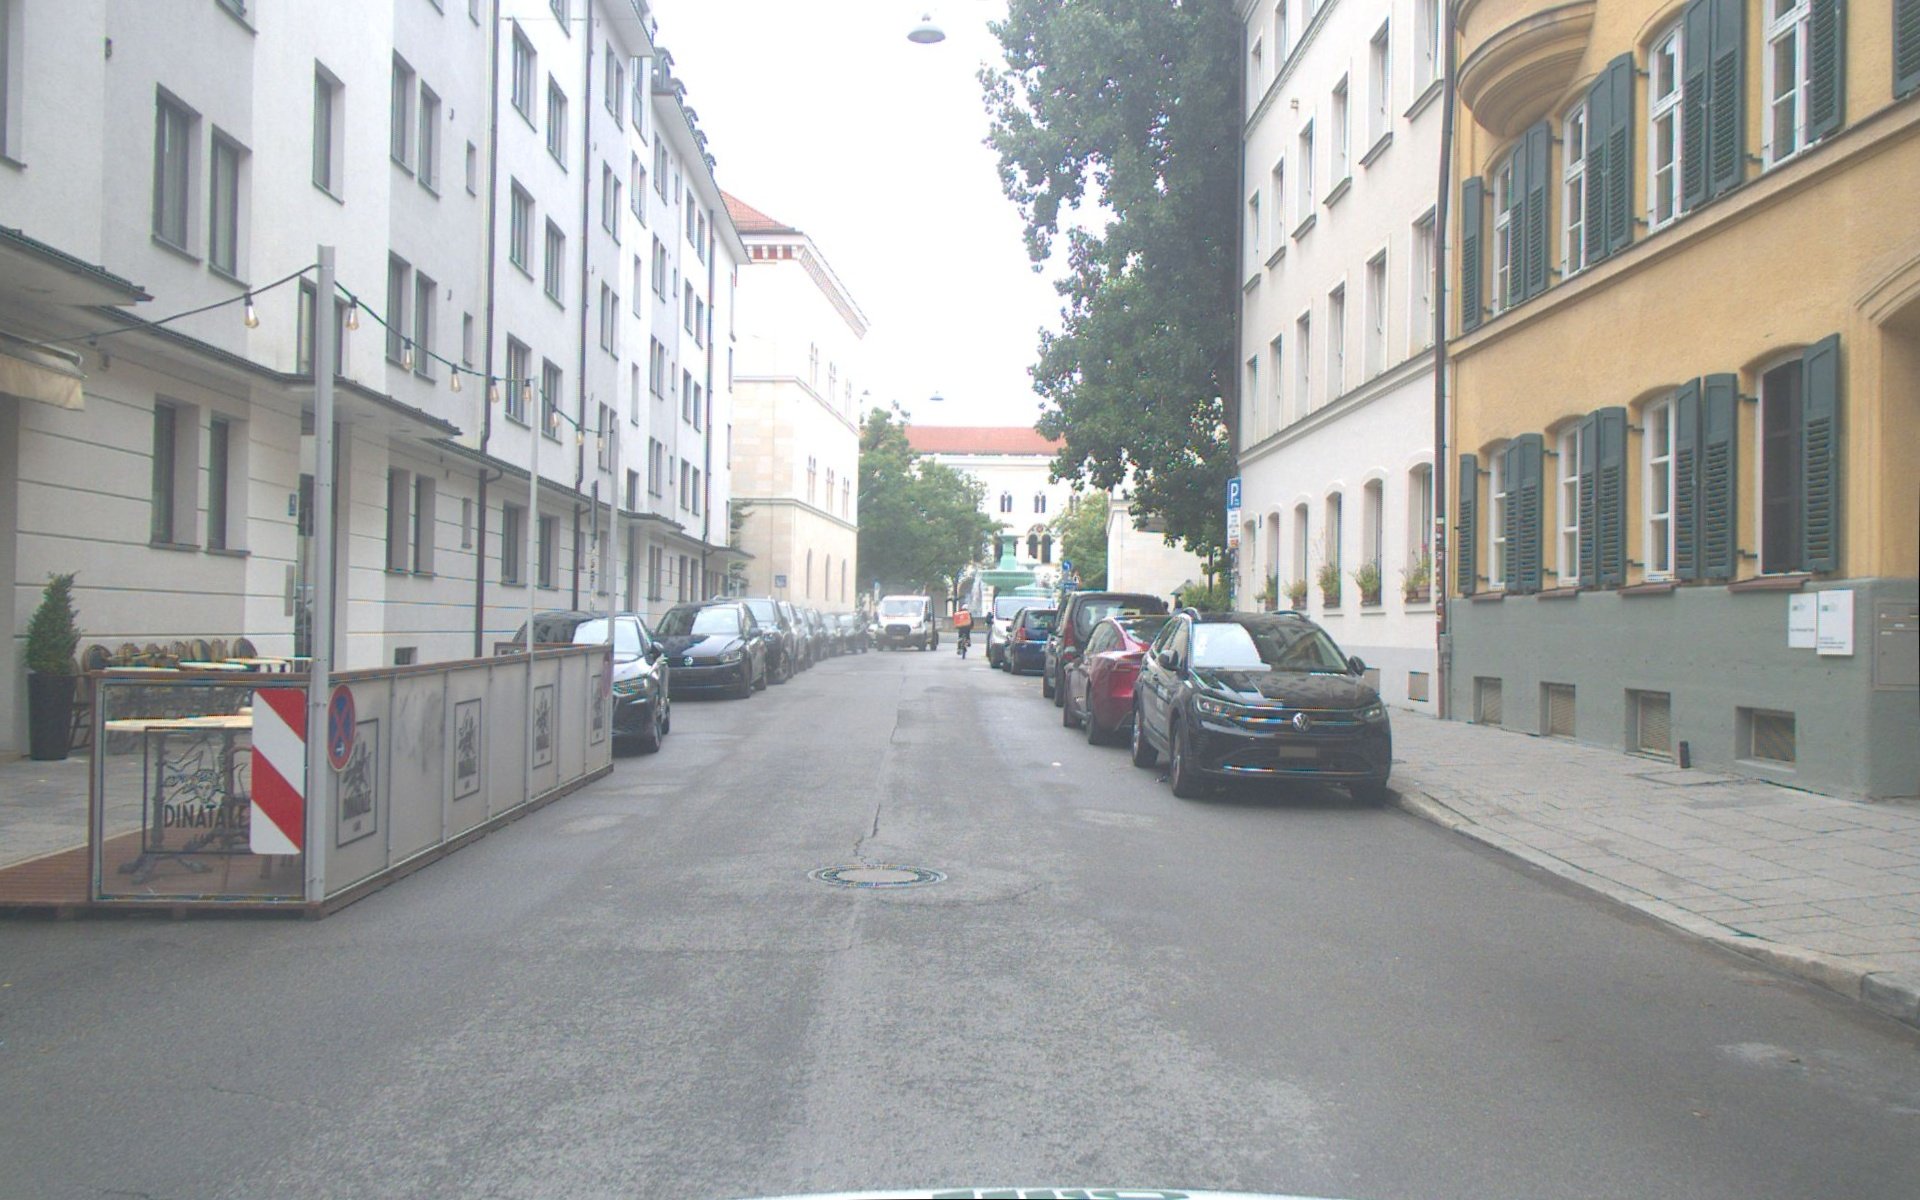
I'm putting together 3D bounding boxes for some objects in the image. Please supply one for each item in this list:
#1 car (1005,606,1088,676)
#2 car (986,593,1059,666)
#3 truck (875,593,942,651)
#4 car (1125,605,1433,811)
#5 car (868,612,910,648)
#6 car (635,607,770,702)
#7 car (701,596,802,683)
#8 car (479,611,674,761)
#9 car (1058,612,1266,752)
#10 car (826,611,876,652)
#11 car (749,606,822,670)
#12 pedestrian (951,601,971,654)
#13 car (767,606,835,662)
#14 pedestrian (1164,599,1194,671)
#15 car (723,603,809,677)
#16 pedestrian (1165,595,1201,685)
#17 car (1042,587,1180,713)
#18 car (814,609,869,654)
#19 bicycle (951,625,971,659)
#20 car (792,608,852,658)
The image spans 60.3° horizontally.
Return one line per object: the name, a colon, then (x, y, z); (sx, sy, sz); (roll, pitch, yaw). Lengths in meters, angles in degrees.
car: (2.089, 0.990, 40.950); (1.775, 1.642, 4.155); (1, -1, -1)
car: (1.722, 0.819, 46.909); (1.814, 1.953, 4.768); (1, -1, -1)
truck: (-2.070, 0.939, 68.408); (2.076, 2.287, 6.188); (0, -1, 5)
car: (2.613, 0.834, 14.557); (1.775, 1.490, 4.245); (2, -1, -1)
car: (-3.240, 1.382, 76.044); (1.671, 1.609, 3.863); (0, -1, 1)
car: (-4.249, 0.868, 27.773); (1.781, 1.470, 3.816); (0, -1, -2)
car: (-4.167, 0.769, 33.516); (1.672, 1.638, 3.861); (0, -1, -2)
car: (-4.056, 0.843, 18.042); (1.729, 1.435, 4.147); (0, -1, -8)
car: (2.311, 0.904, 19.960); (1.775, 1.449, 4.244); (2, -1, -3)
car: (-4.422, 1.264, 67.443); (1.671, 1.609, 3.863); (0, -1, 1)
car: (-4.677, 0.993, 44.752); (1.672, 1.638, 3.861); (0, -1, -2)
pedestrian: (0.033, 0.928, 55.033); (0.629, 1.744, 0.842); (0, -2, 0)
car: (-4.841, 1.025, 50.807); (1.671, 1.638, 3.863); (0, -1, 0)
pedestrian: (6.200, 0.991, 46.827); (0.656, 2.015, 0.708); (-2, -2, -1)
car: (-4.496, 0.918, 38.805); (1.672, 1.638, 3.861); (0, -1, -2)
pedestrian: (5.127, 0.921, 38.050); (0.656, 2.015, 0.708); (-2, -2, -1)
car: (2.373, 0.773, 26.989); (1.775, 1.829, 4.246); (2, -1, -1)
car: (-4.367, 1.157, 61.503); (1.671, 1.638, 3.863); (0, -1, 1)
bicycle: (0.027, 1.394, 54.960); (0.661, 1.114, 1.760); (0, -2, 0)
car: (-4.679, 1.106, 56.366); (1.671, 1.638, 3.863); (0, -1, 1)
